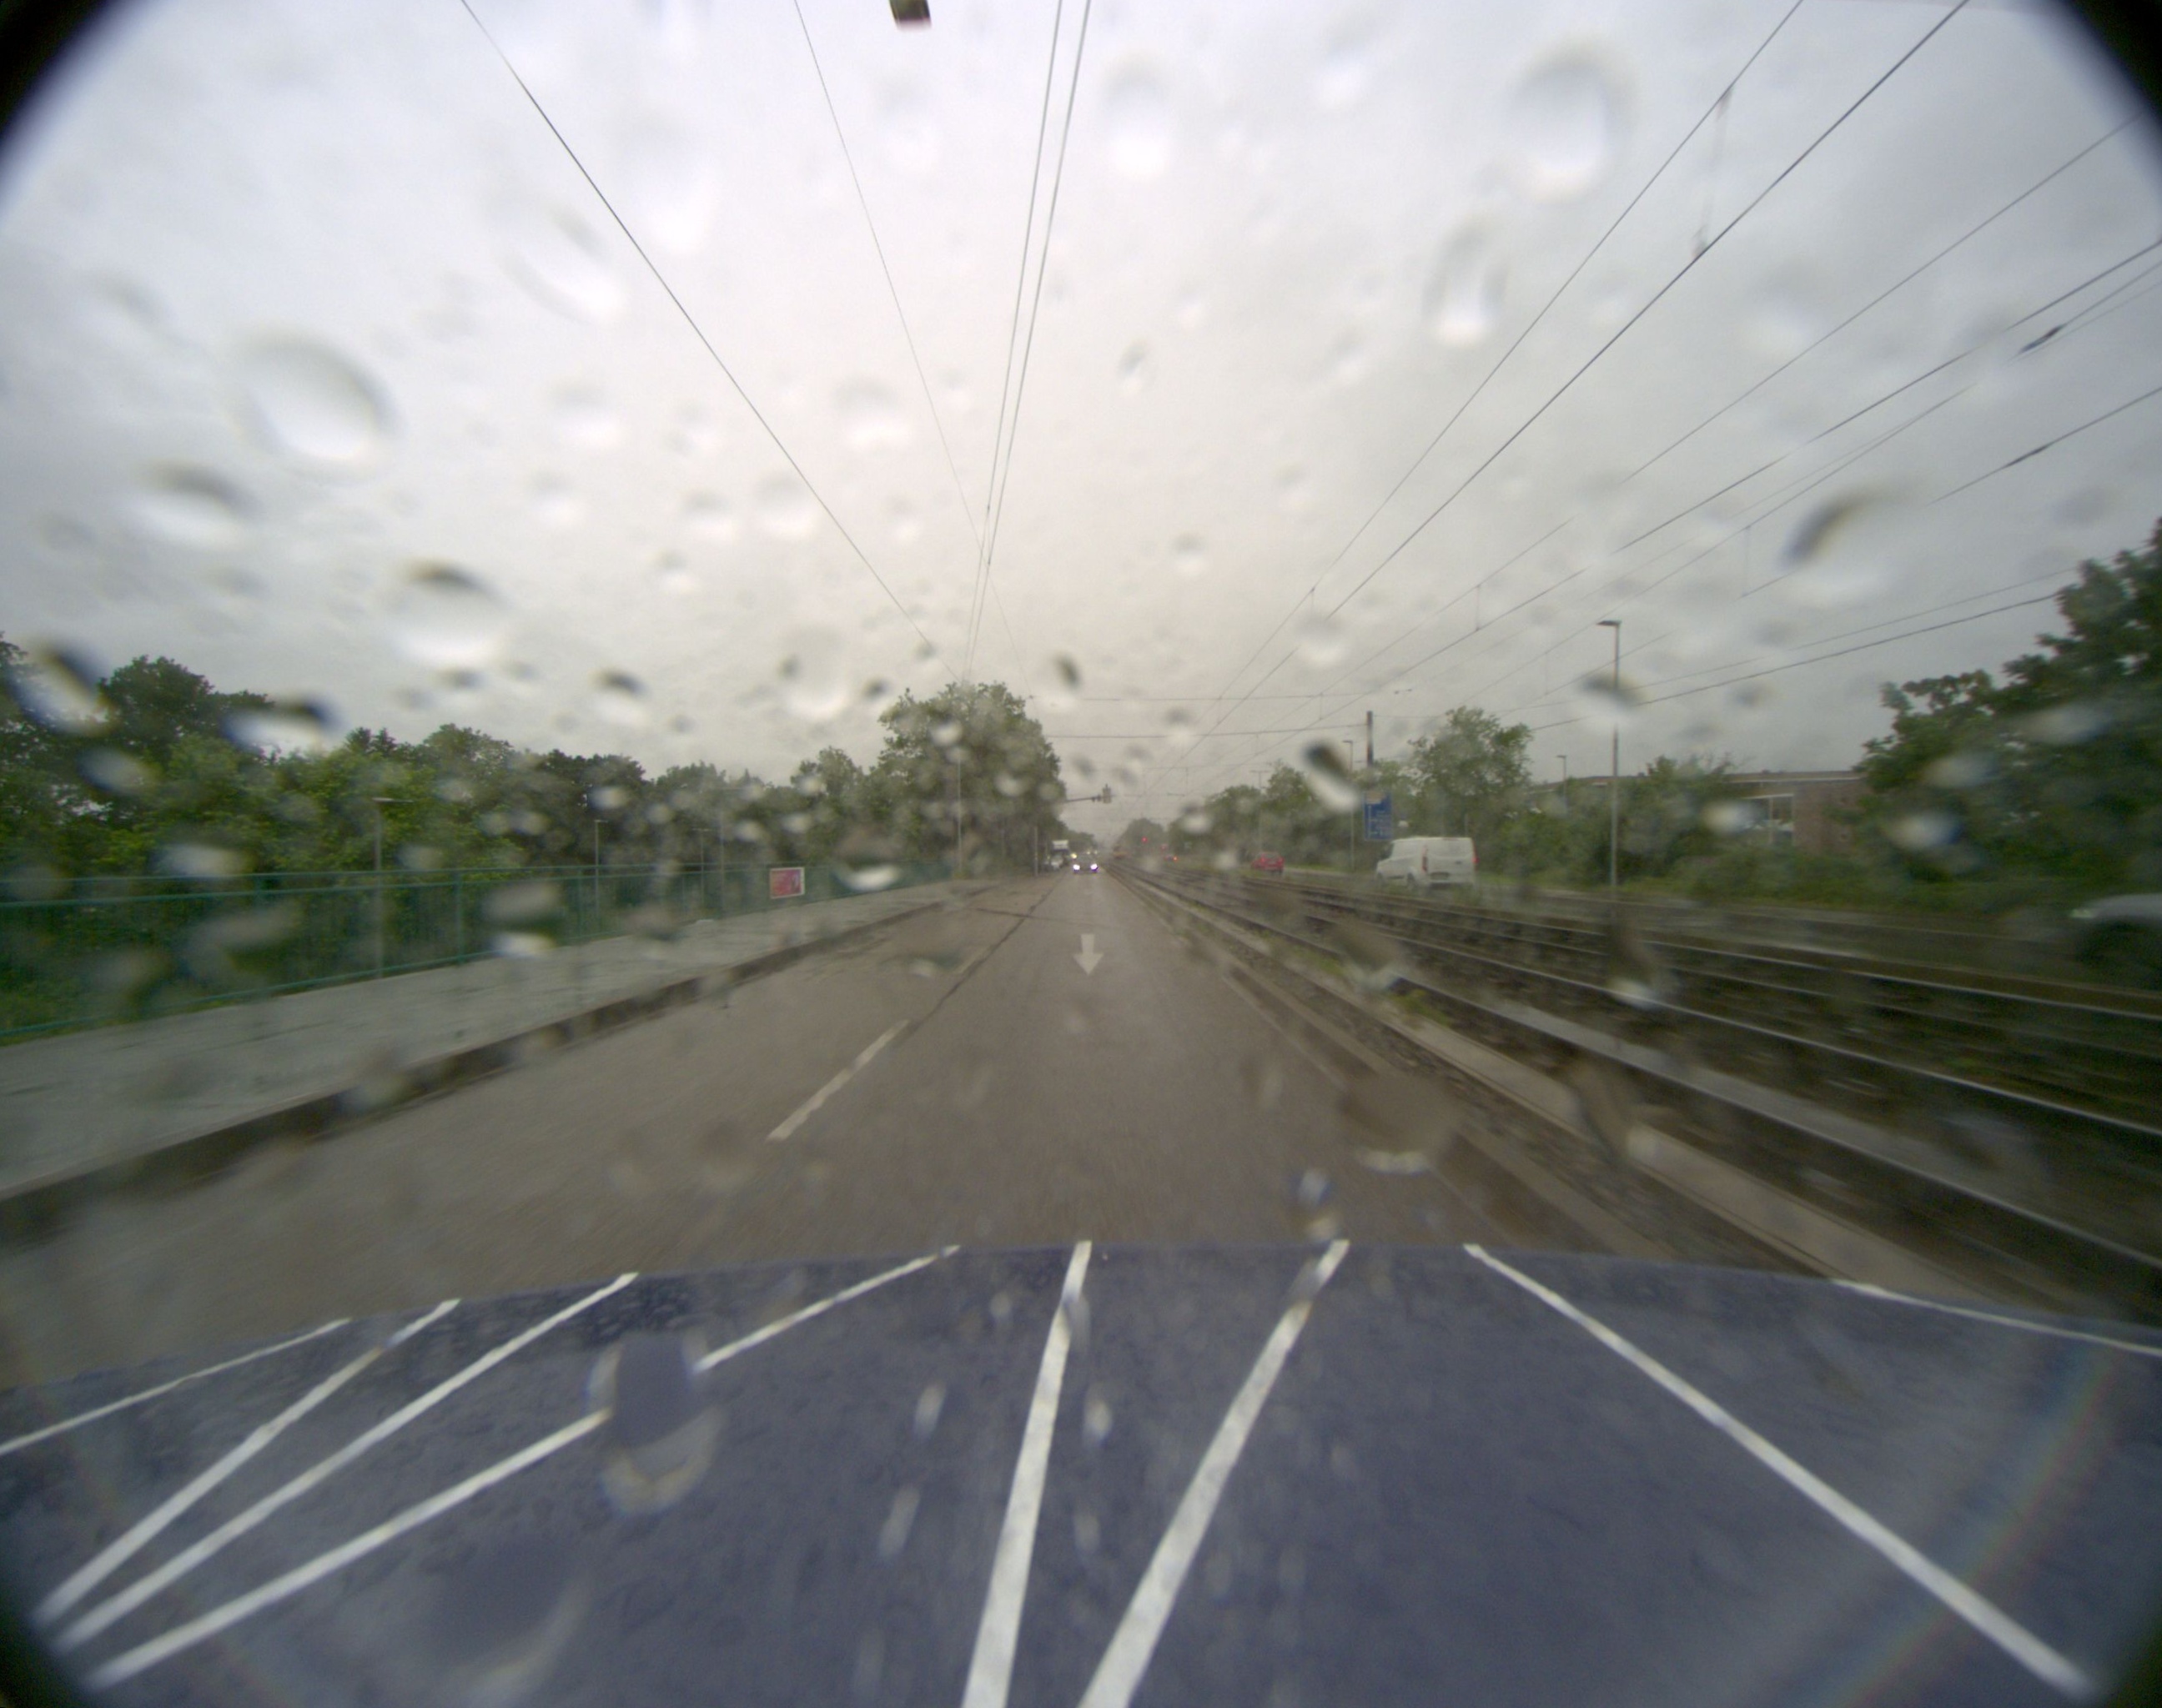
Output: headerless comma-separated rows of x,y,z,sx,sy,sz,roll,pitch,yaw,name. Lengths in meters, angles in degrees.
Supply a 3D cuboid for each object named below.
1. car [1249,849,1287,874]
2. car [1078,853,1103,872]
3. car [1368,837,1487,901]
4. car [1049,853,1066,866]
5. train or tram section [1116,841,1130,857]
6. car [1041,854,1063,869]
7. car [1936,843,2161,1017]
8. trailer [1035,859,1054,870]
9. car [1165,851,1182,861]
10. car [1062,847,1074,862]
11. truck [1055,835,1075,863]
13.226,0.491,53.939,1.728,1.591,3.650,-2,1,0,car
0.775,0.692,64.228,1.998,1.497,4.196,-2,0,0,car
12.359,0.478,27.549,1.998,2.032,5.028,-2,0,0,car
-3.016,0.680,97.987,1.998,1.497,4.196,-2,0,0,car
10.013,-1.240,183.445,2.460,3.603,15.104,-2,1,1,train or tram section
-2.952,0.744,78.503,1.998,1.394,4.196,-2,0,0,car
11.584,0.743,6.712,1.998,1.639,5.371,-2,0,0,car
-3.419,1.014,71.881,1.546,0.931,3.276,-2,0,0,trailer
15.281,0.275,125.782,1.999,1.514,4.956,-2,1,-1,car
-2.498,0.066,145.209,1.998,2.661,4.196,-2,0,0,car
-2.391,-0.695,113.891,2.567,3.847,7.846,-2,0,1,truck
